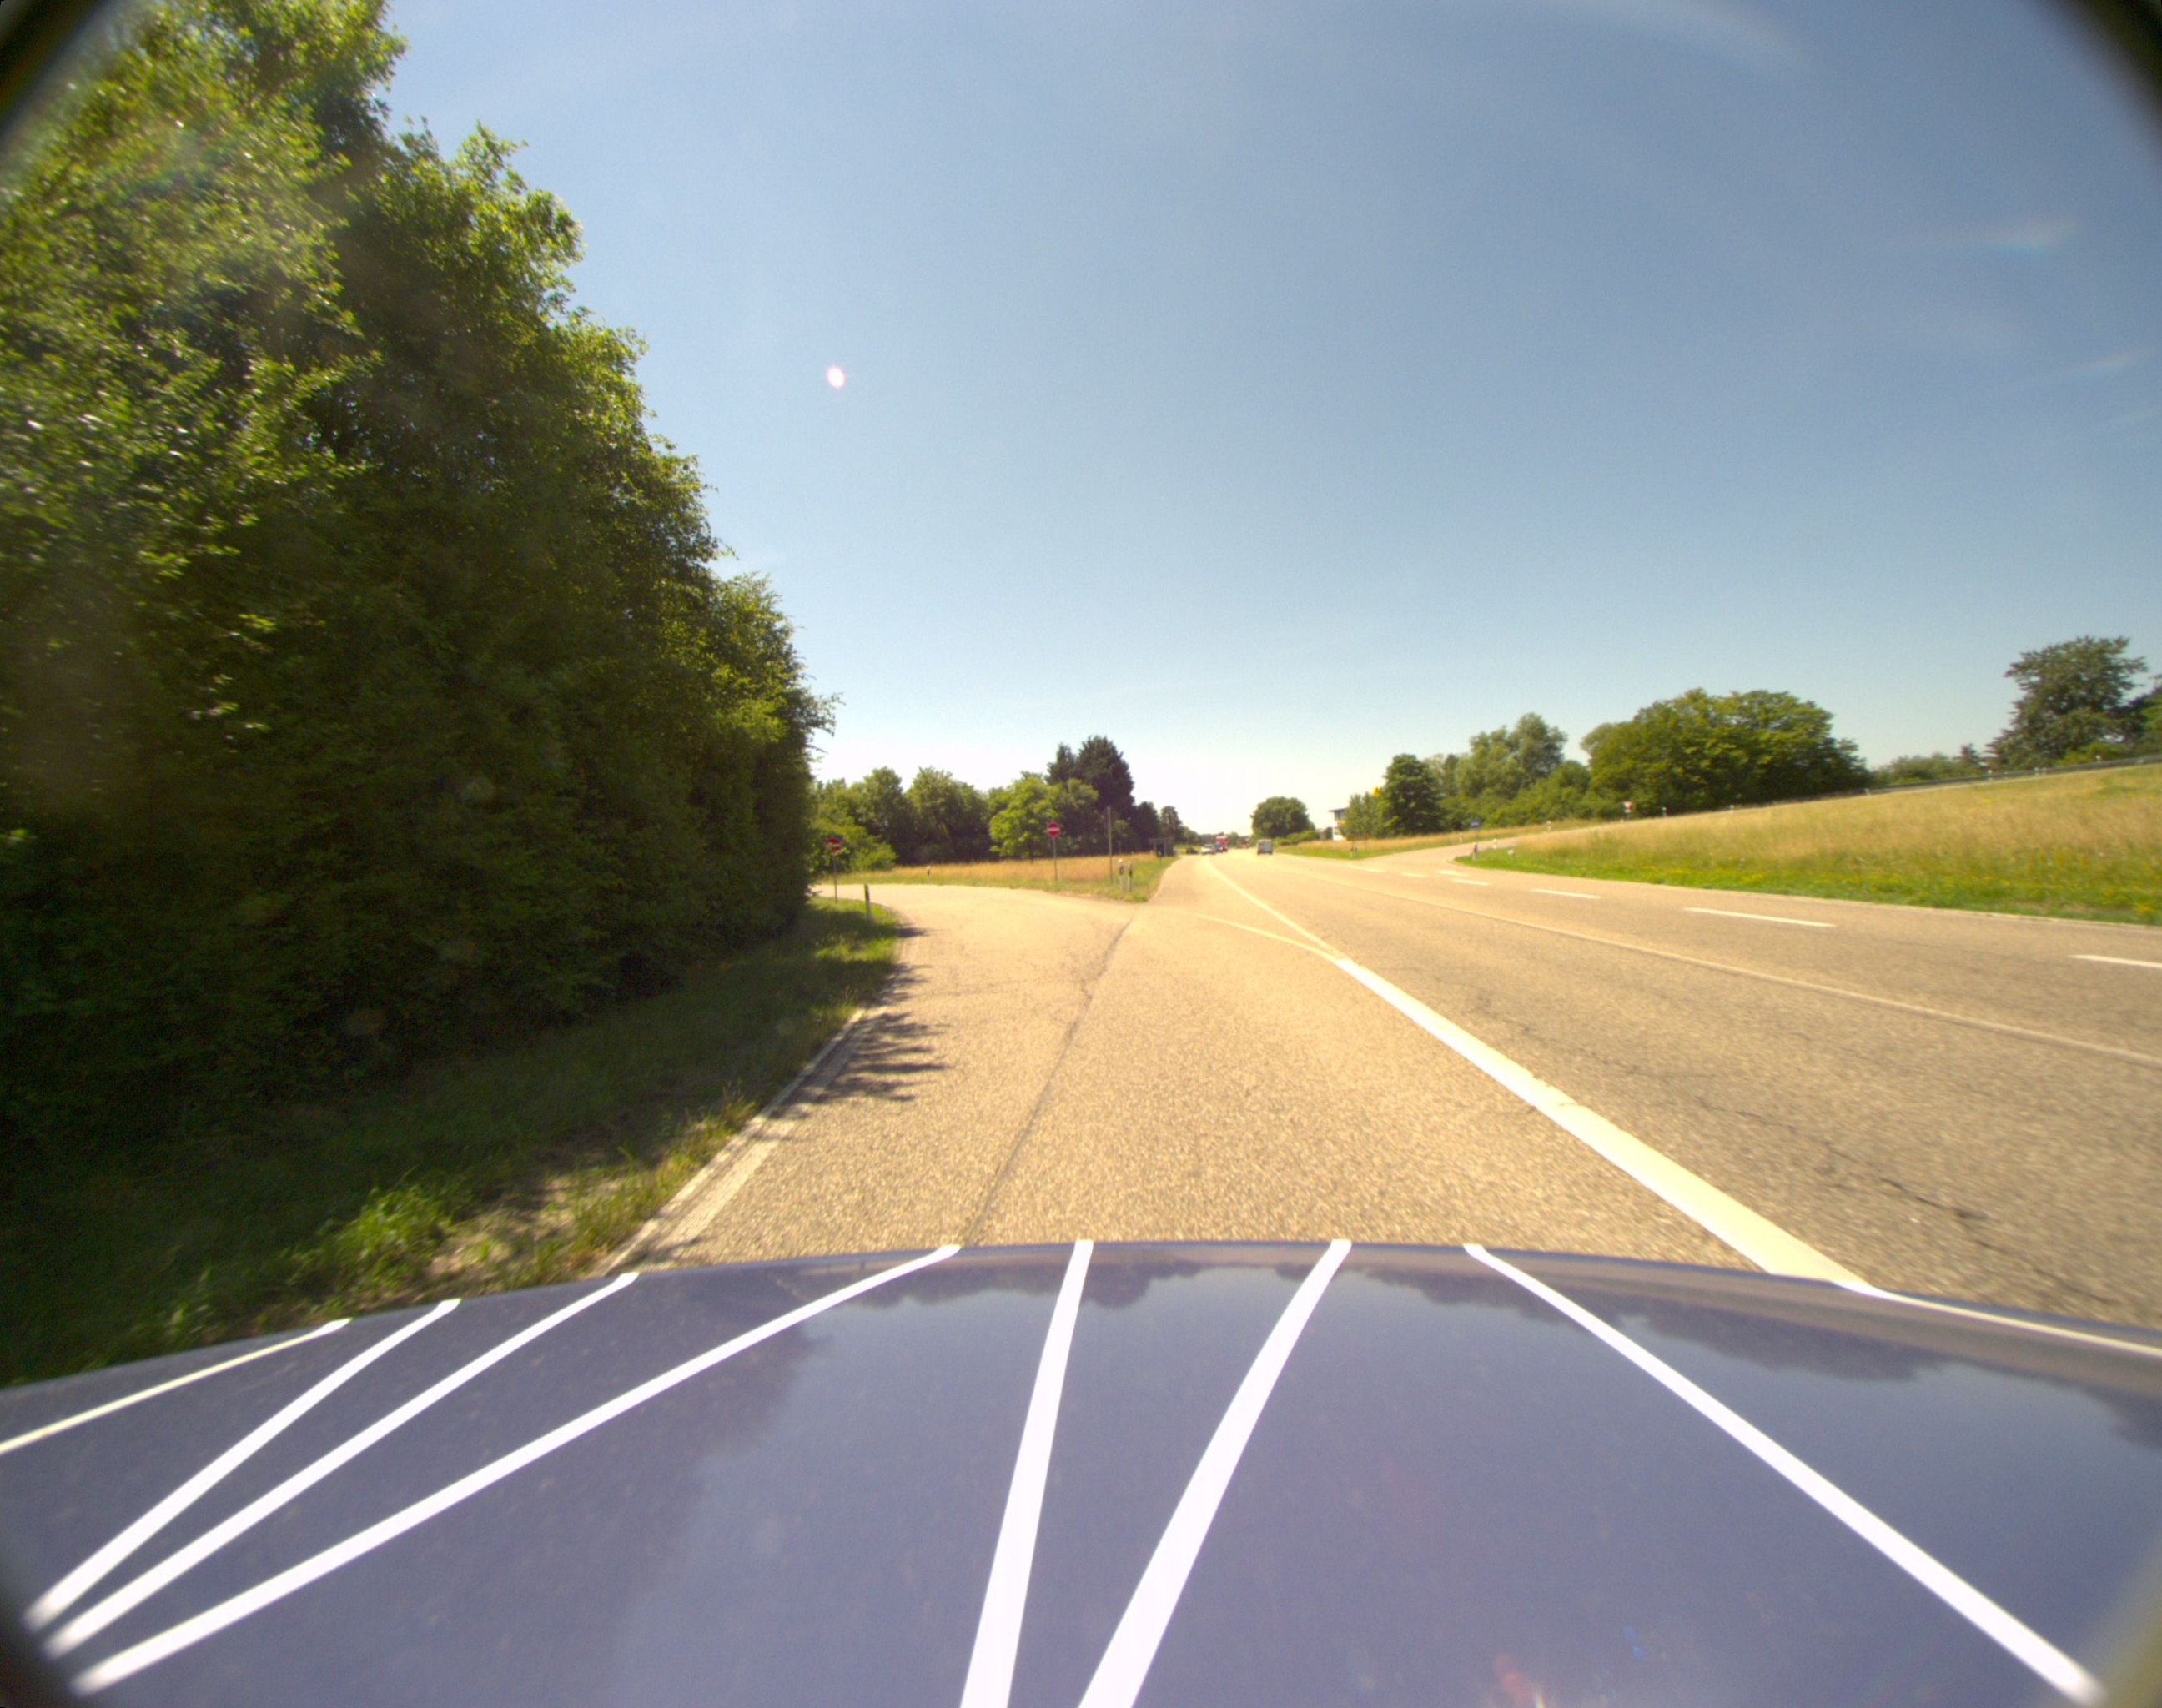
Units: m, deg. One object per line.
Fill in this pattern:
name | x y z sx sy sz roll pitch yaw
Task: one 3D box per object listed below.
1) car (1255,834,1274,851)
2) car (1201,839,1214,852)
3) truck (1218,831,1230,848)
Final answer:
car | 24.037 -1.437 99.743 1.912 1.949 5.398 -3 -1 8
car | 20.151 -1.340 121.163 1.912 1.949 4.460 -3 -1 10
truck | 28.833 -2.901 153.107 1.997 3.158 7.011 -3 -1 13
